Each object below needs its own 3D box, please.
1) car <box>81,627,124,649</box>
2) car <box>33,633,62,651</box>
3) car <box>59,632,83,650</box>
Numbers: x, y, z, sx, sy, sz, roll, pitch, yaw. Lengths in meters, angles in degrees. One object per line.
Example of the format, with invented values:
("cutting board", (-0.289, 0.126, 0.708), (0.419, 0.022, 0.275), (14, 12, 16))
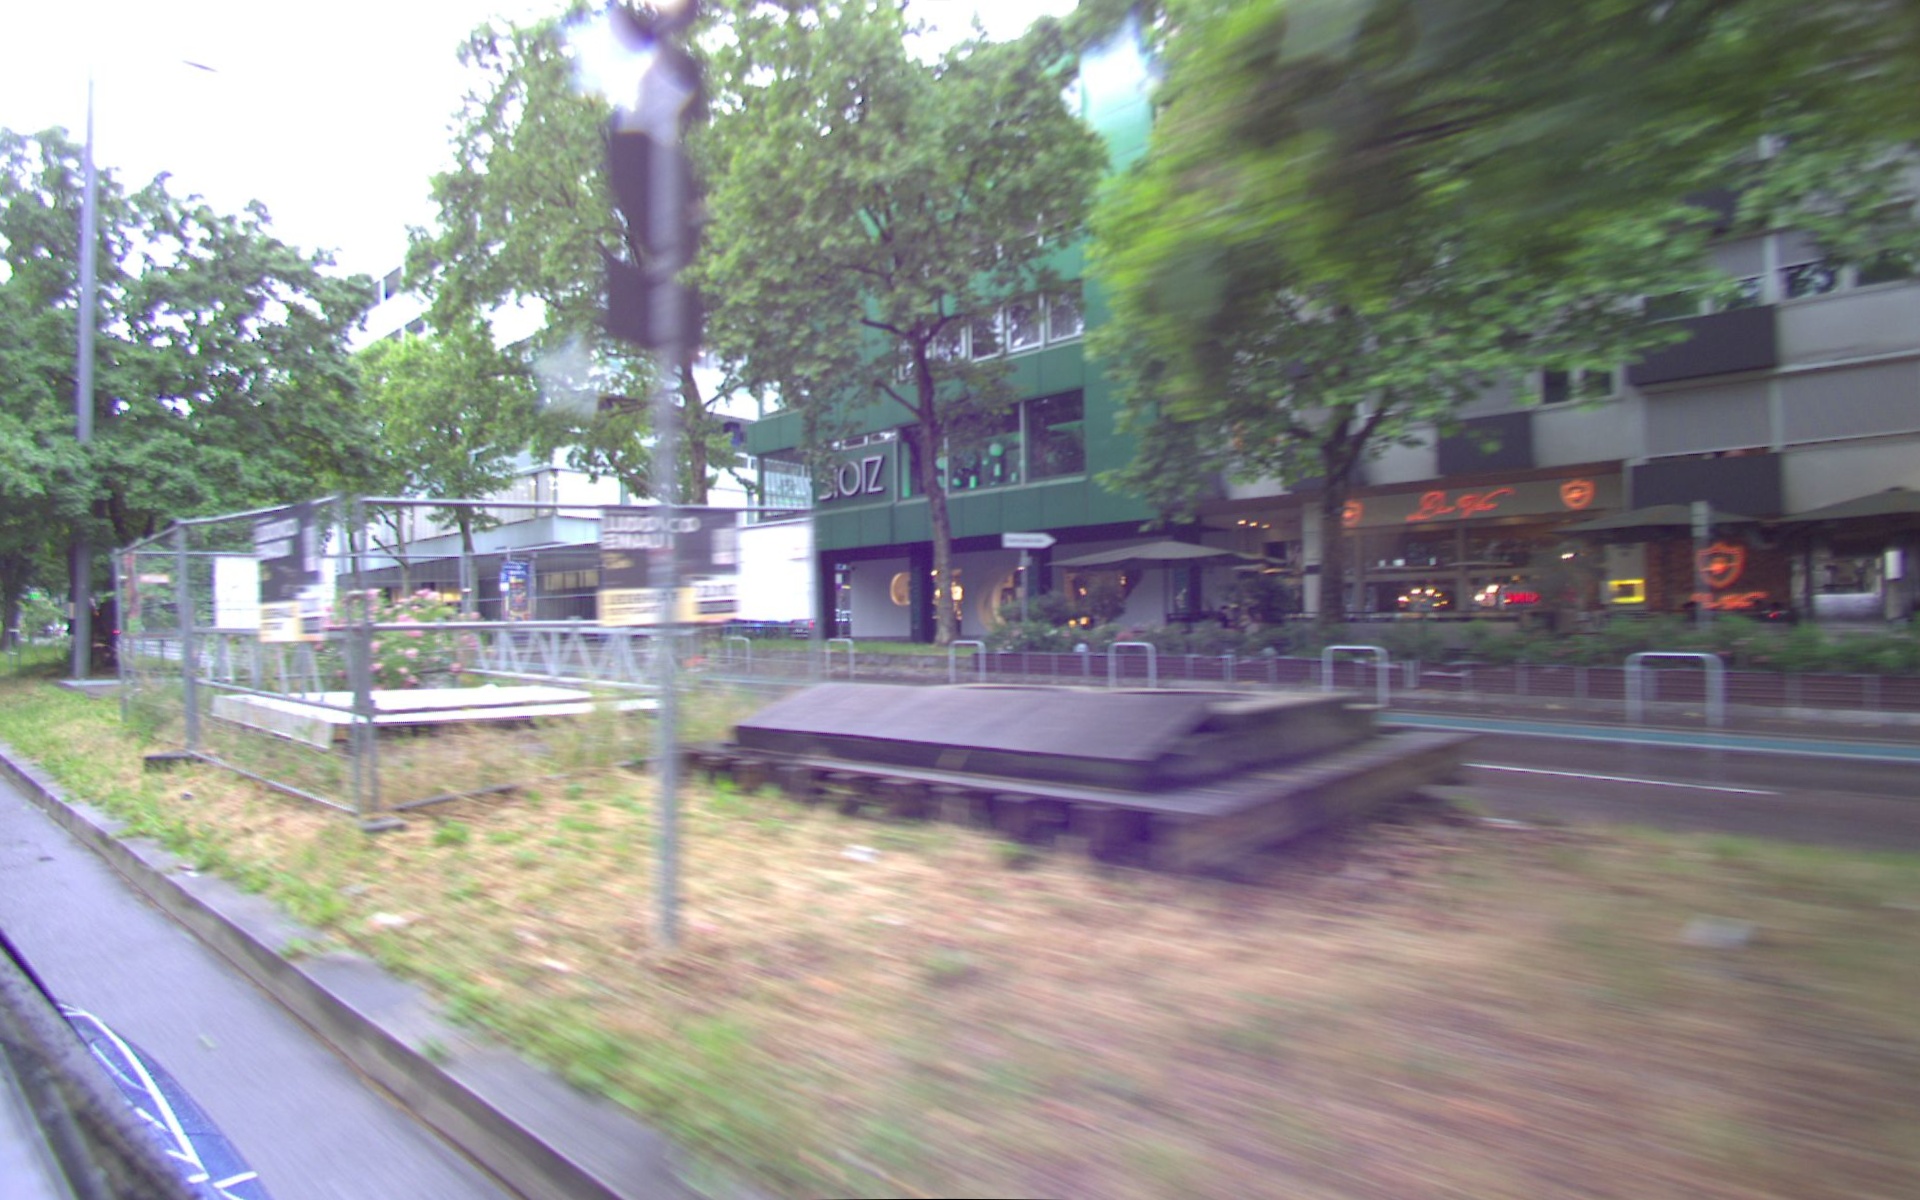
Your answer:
("car", (-62.110, 2.739, 73.281), (4.758, 1.503, 1.971), (-2, -3, 45))
("car", (-93.078, 4.241, 103.204), (1.971, 1.815, 4.284), (1, -2, -45))
("car", (-74.837, 3.439, 85.187), (3.561, 1.473, 1.148), (-2, -2, 44))
